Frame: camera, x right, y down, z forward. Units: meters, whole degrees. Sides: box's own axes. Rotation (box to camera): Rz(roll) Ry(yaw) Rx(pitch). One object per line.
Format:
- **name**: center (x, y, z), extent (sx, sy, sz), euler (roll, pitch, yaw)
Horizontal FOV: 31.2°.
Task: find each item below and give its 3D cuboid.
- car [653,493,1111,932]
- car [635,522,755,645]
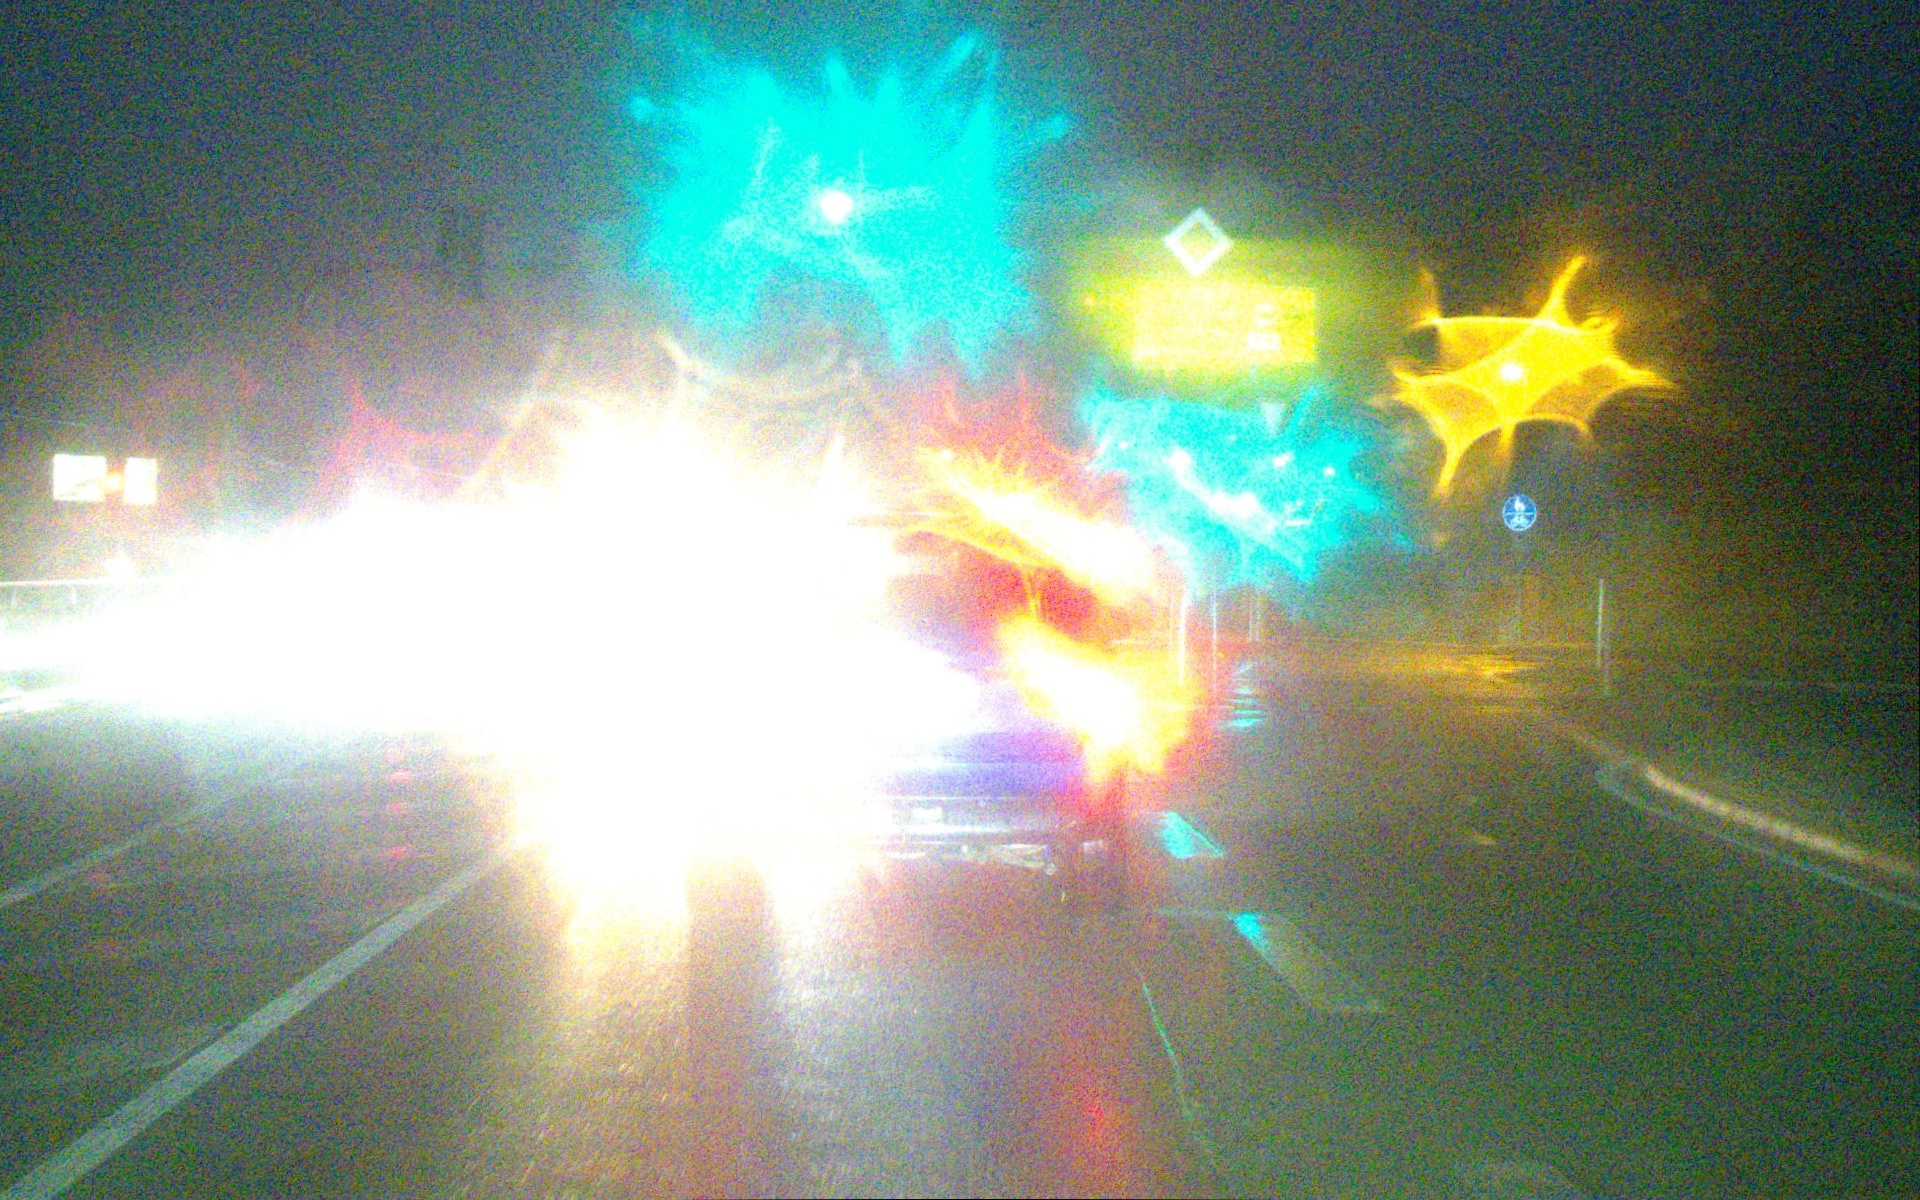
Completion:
- **car**: center (-0.380, 0.420, 15.477), extent (1.775, 1.706, 4.000), euler (1, 1, -2)
- **car**: center (-4.646, -0.260, 59.919), extent (1.993, 2.007, 4.000), euler (-1, -1, -5)
